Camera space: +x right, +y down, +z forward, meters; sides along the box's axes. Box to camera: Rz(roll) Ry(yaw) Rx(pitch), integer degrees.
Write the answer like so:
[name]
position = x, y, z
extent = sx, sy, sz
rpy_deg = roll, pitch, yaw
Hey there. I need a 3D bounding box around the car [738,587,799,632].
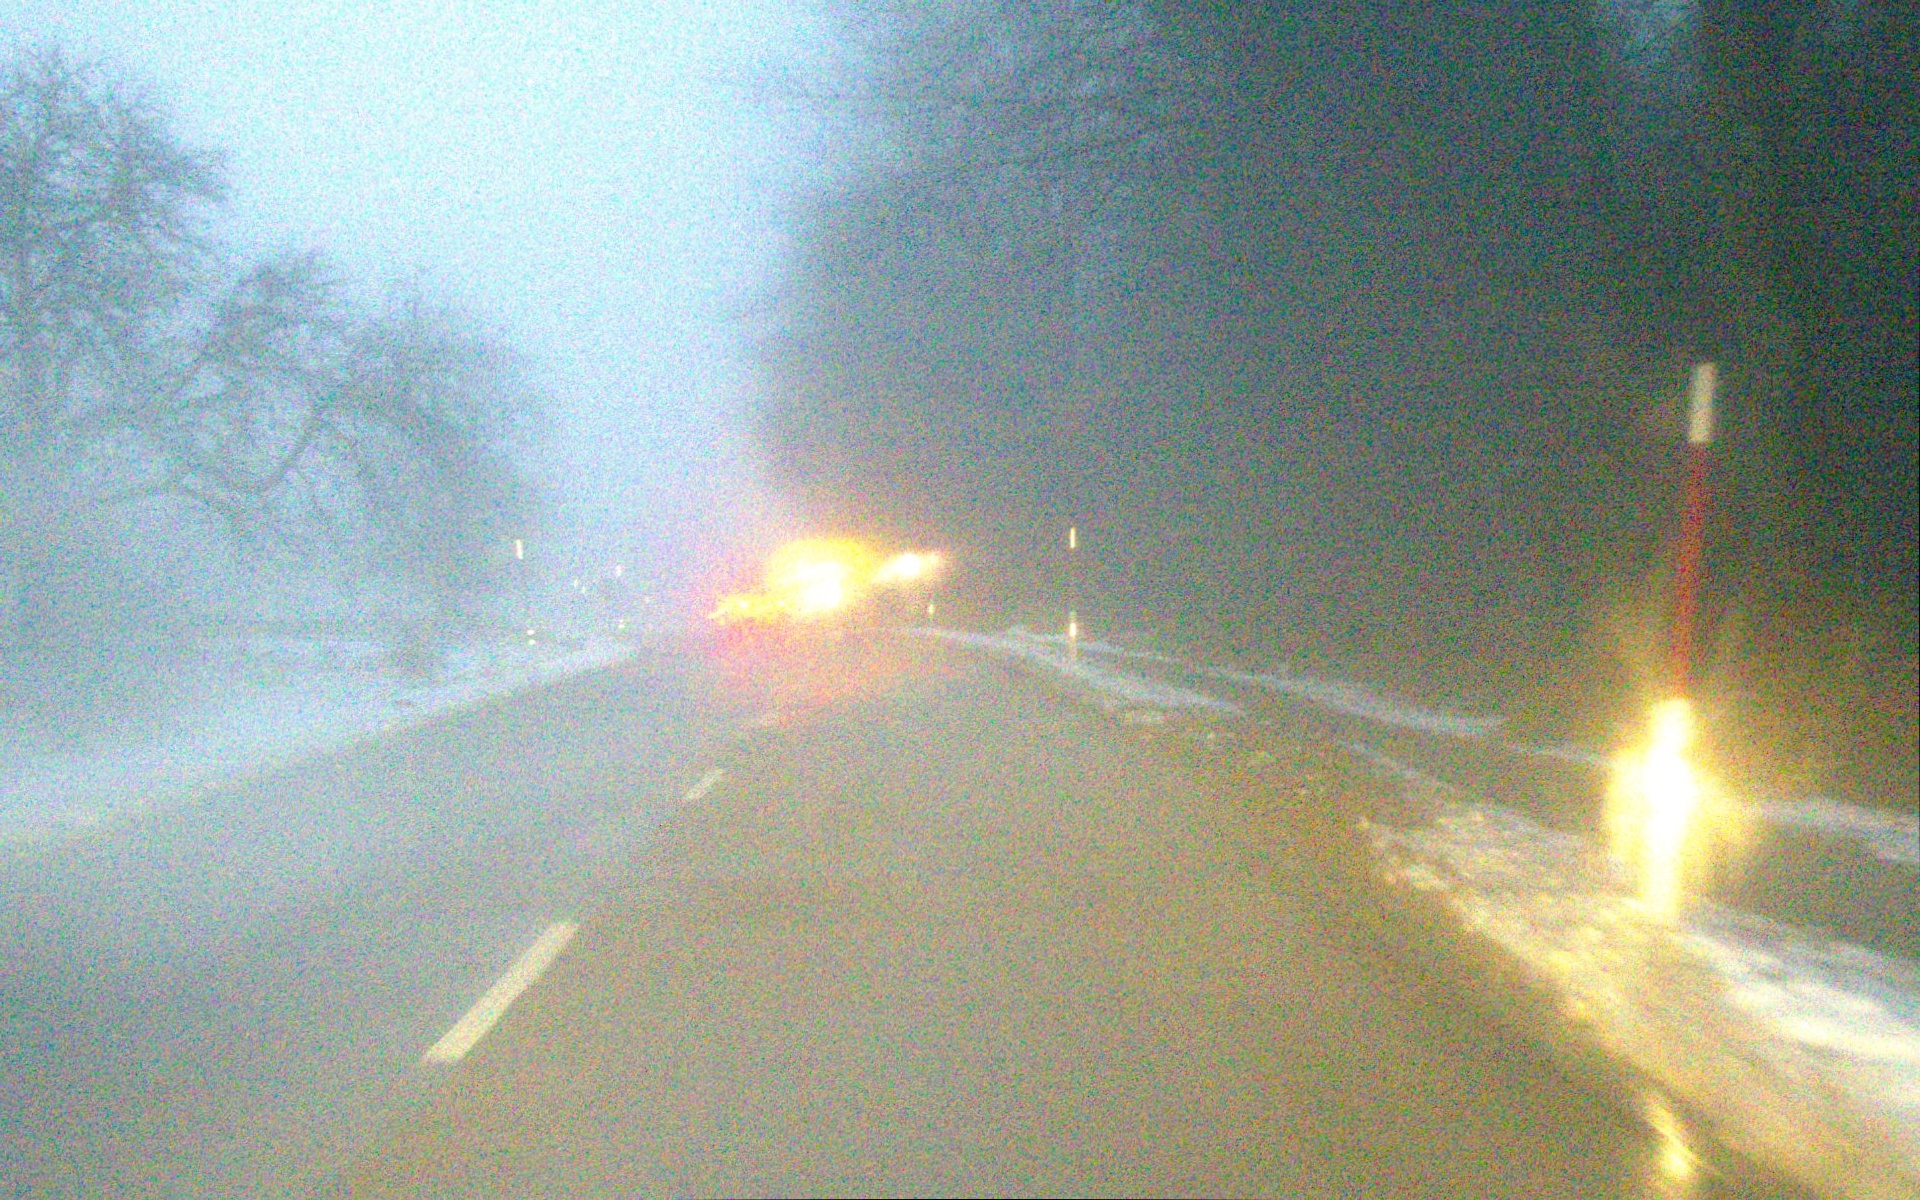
[car]
position = -6.582, 0.307, 118.640
extent = 1.993, 1.415, 4.000
rpy_deg = -2, 1, -2
